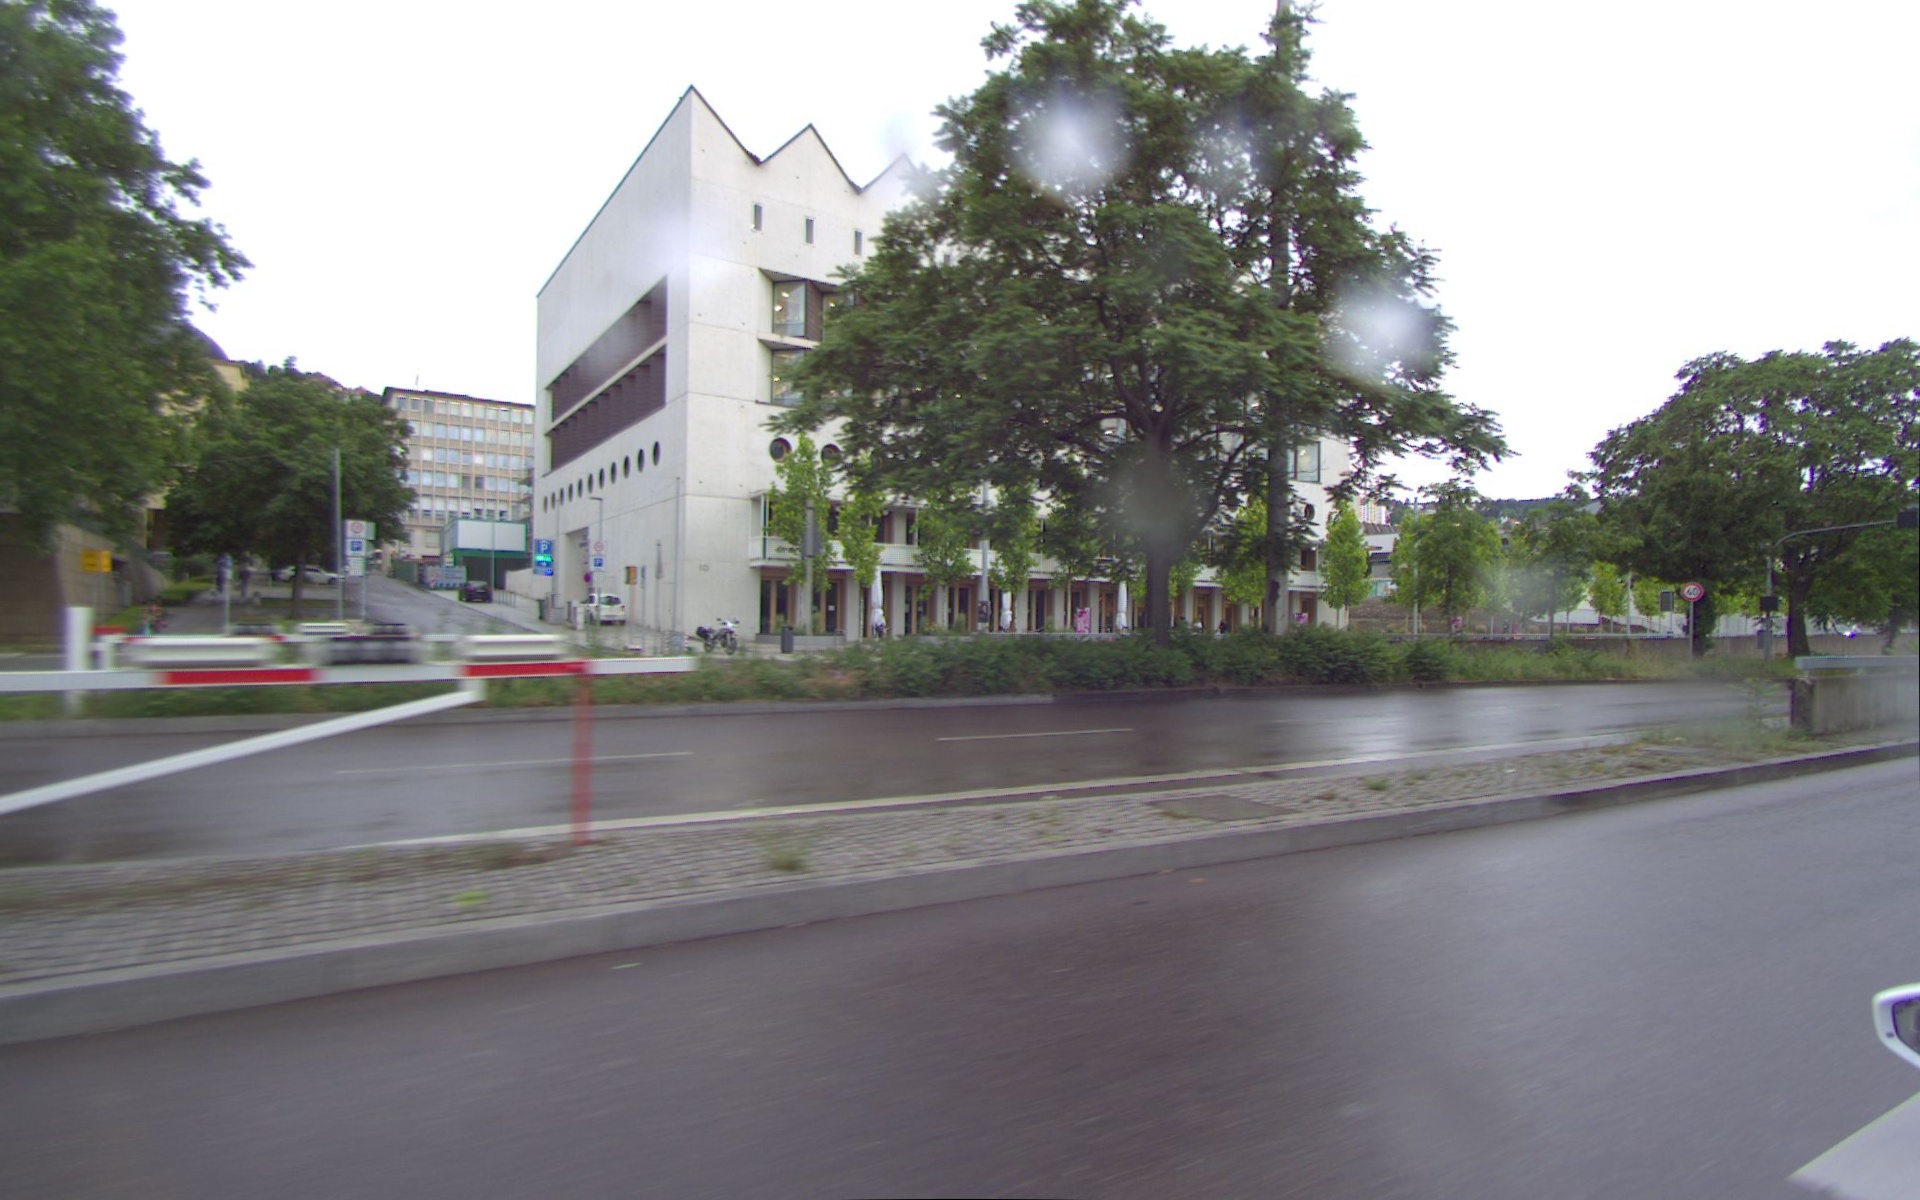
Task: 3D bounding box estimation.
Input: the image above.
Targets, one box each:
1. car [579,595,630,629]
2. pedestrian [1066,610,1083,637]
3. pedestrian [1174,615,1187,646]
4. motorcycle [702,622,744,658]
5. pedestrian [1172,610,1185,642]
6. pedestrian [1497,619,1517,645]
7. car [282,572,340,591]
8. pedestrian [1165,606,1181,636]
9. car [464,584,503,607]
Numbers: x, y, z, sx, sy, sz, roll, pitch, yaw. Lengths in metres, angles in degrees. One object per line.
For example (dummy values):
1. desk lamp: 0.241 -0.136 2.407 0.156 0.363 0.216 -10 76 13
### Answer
1. car: -18.165 0.610 51.272 1.742 1.633 3.502 2 0 -31
2. pedestrian: 6.519 1.331 57.161 0.644 1.535 0.674 2 0 -33
3. pedestrian: 13.593 1.885 61.916 0.687 1.883 0.741 2 0 10
4. motorcycle: -8.564 1.442 36.265 1.792 1.198 0.603 2 0 45
5. pedestrian: 13.274 1.563 61.087 0.687 1.883 0.741 2 0 10
6. pedestrian: 40.535 2.344 74.457 0.823 1.891 1.076 2 0 -40
7. car: -52.973 -1.522 82.017 3.924 1.383 1.594 2 0 -34
8. pedestrian: 13.633 1.314 64.261 0.690 1.883 0.738 2 0 35
9. car: -33.415 -0.310 70.422 2.015 1.480 3.699 2 0 -32
